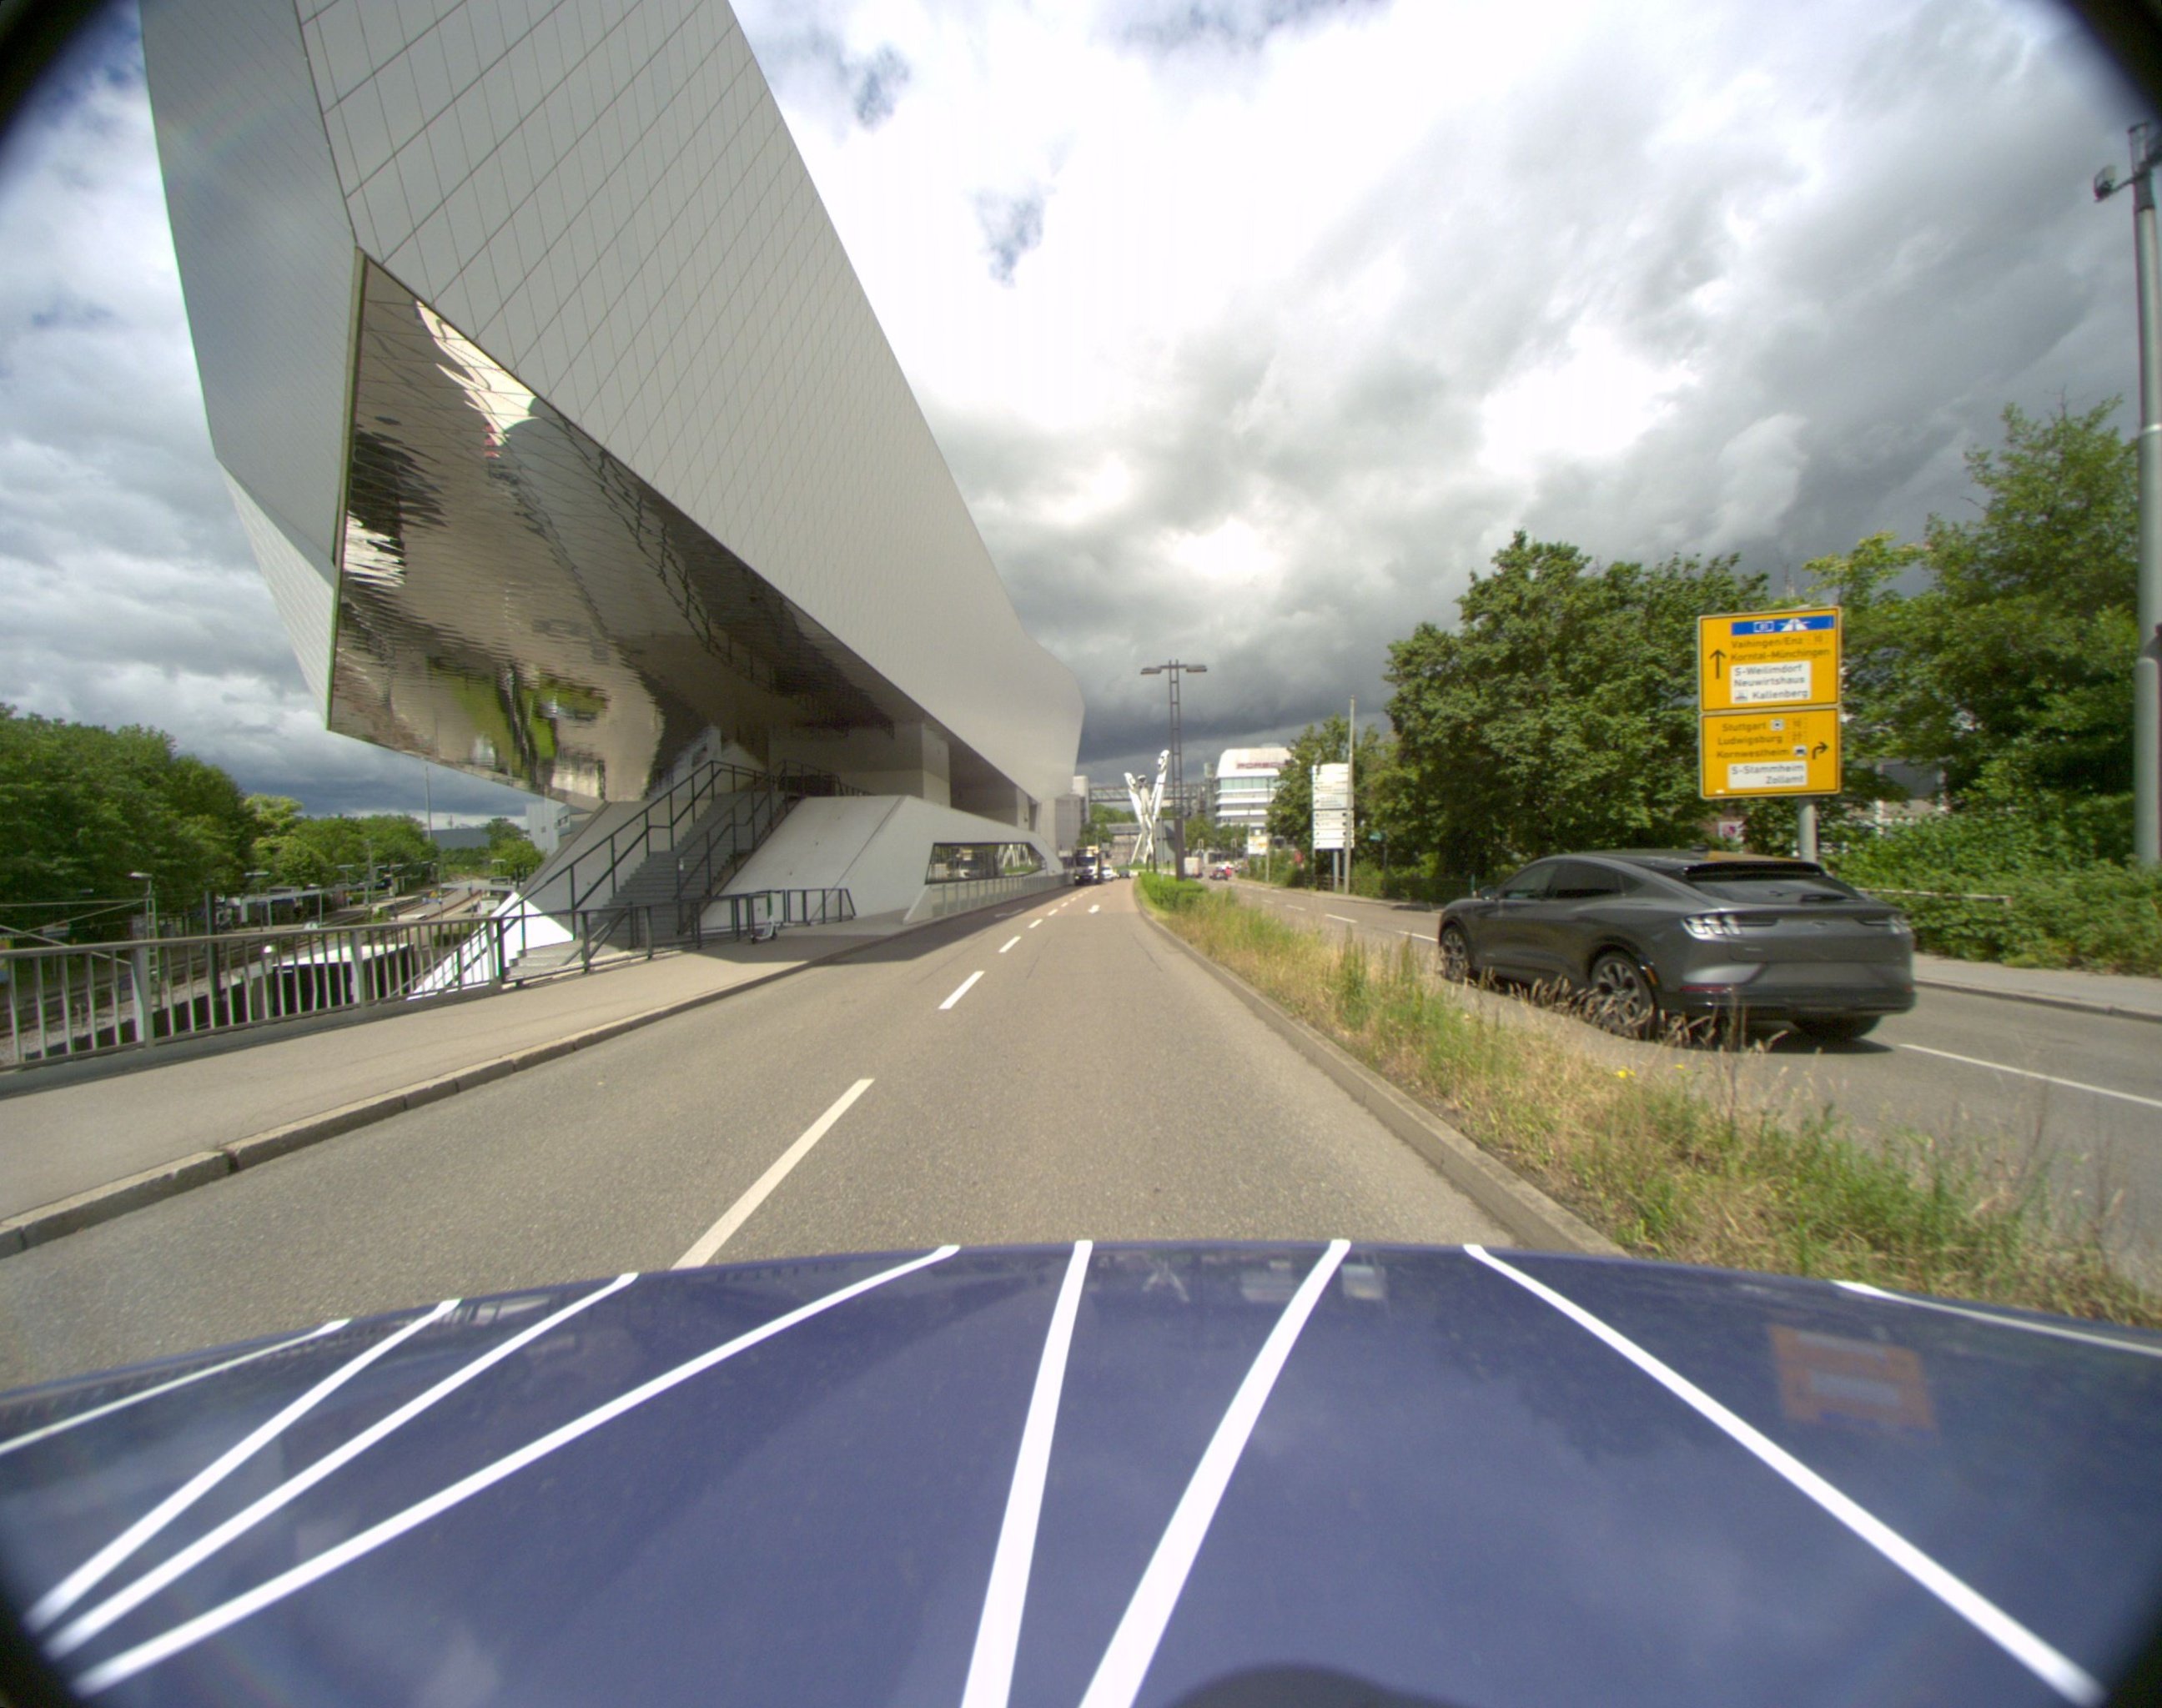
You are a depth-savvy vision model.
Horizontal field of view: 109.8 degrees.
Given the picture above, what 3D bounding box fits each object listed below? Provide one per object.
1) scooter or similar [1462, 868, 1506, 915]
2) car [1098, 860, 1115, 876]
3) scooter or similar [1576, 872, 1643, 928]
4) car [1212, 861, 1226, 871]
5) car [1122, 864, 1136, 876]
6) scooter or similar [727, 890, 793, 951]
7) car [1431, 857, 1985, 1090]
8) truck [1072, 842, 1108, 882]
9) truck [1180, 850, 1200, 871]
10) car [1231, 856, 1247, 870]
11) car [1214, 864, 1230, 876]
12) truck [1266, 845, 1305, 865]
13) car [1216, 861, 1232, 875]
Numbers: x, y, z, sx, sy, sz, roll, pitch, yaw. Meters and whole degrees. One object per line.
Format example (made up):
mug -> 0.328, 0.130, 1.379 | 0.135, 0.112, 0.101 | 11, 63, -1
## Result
scooter or similar -> 11.858, 1.087, 22.402 | 0.492, 1.296, 1.644 | -3, -1, 5
car -> 3.104, 1.673, 92.400 | 1.986, 1.702, 4.761 | -2, 1, 3
scooter or similar -> 12.127, 1.023, 17.493 | 0.492, 1.209, 1.644 | -1, -1, 5
car -> 20.627, 1.755, 113.227 | 1.799, 1.413, 4.497 | 0, 0, 13
car -> 6.962, 2.323, 110.421 | 1.817, 1.663, 4.245 | -1, 0, 6
scooter or similar -> -7.088, 1.444, 16.869 | 0.655, 1.207, 1.858 | -1, 0, 0
car -> 5.381, 0.849, 7.511 | 1.882, 1.617, 4.444 | 0, 0, 1
truck -> 0.987, 0.803, 76.541 | 2.842, 3.668, 10.757 | -1, 0, 4
truck -> 16.998, 1.103, 118.065 | 2.861, 2.839, 9.387 | -2, -3, 8
car -> 28.572, 1.607, 137.334 | 1.882, 2.002, 4.005 | -7, 0, 23
car -> 18.310, 2.069, 98.906 | 1.843, 1.498, 4.564 | -1, -1, 7
truck -> 41.626, 0.288, 154.847 | 2.364, 3.546, 8.973 | -3, -1, -25
car -> 22.649, 2.199, 120.189 | 1.996, 1.946, 4.634 | -2, 0, 18
